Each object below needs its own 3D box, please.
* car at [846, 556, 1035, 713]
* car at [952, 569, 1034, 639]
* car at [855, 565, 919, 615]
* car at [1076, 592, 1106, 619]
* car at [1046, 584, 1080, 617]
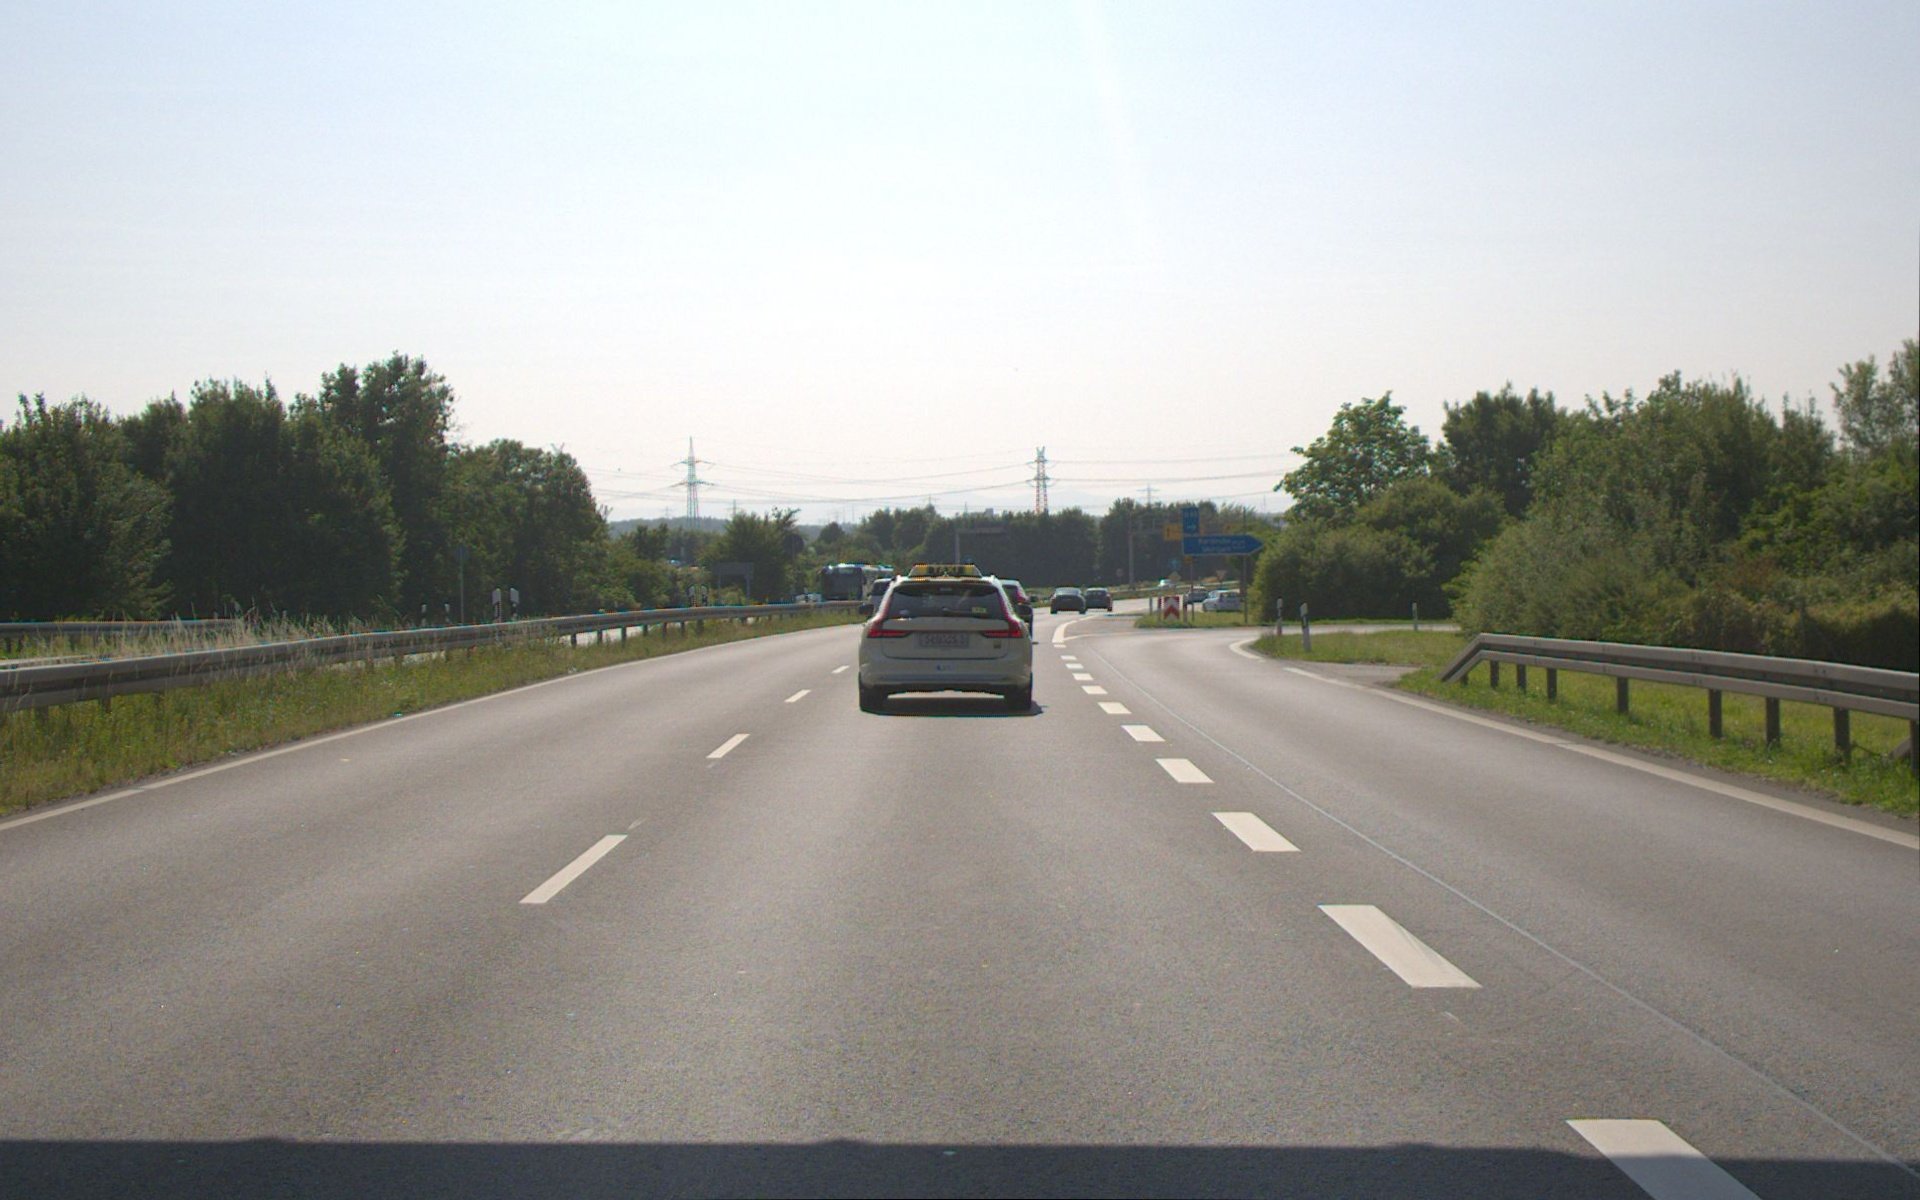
[{"bbox_3d":[-0.271,0.335,38.030,1.958,1.596,4.107,1,1,-2],"label":"car"},{"bbox_3d":[0.718,0.088,77.733,1.793,1.538,3.672,0,0,0],"label":"car"},{"bbox_3d":[-2.270,-0.322,105.896,1.793,1.498,4.043,0,0,-3],"label":"car"},{"bbox_3d":[8.271,0.346,217.799,1.841,1.692,4.000,0,0,1],"label":"car"},{"bbox_3d":[5.739,0.032,191.496,1.841,1.796,4.000,0,0,2],"label":"car"}]
